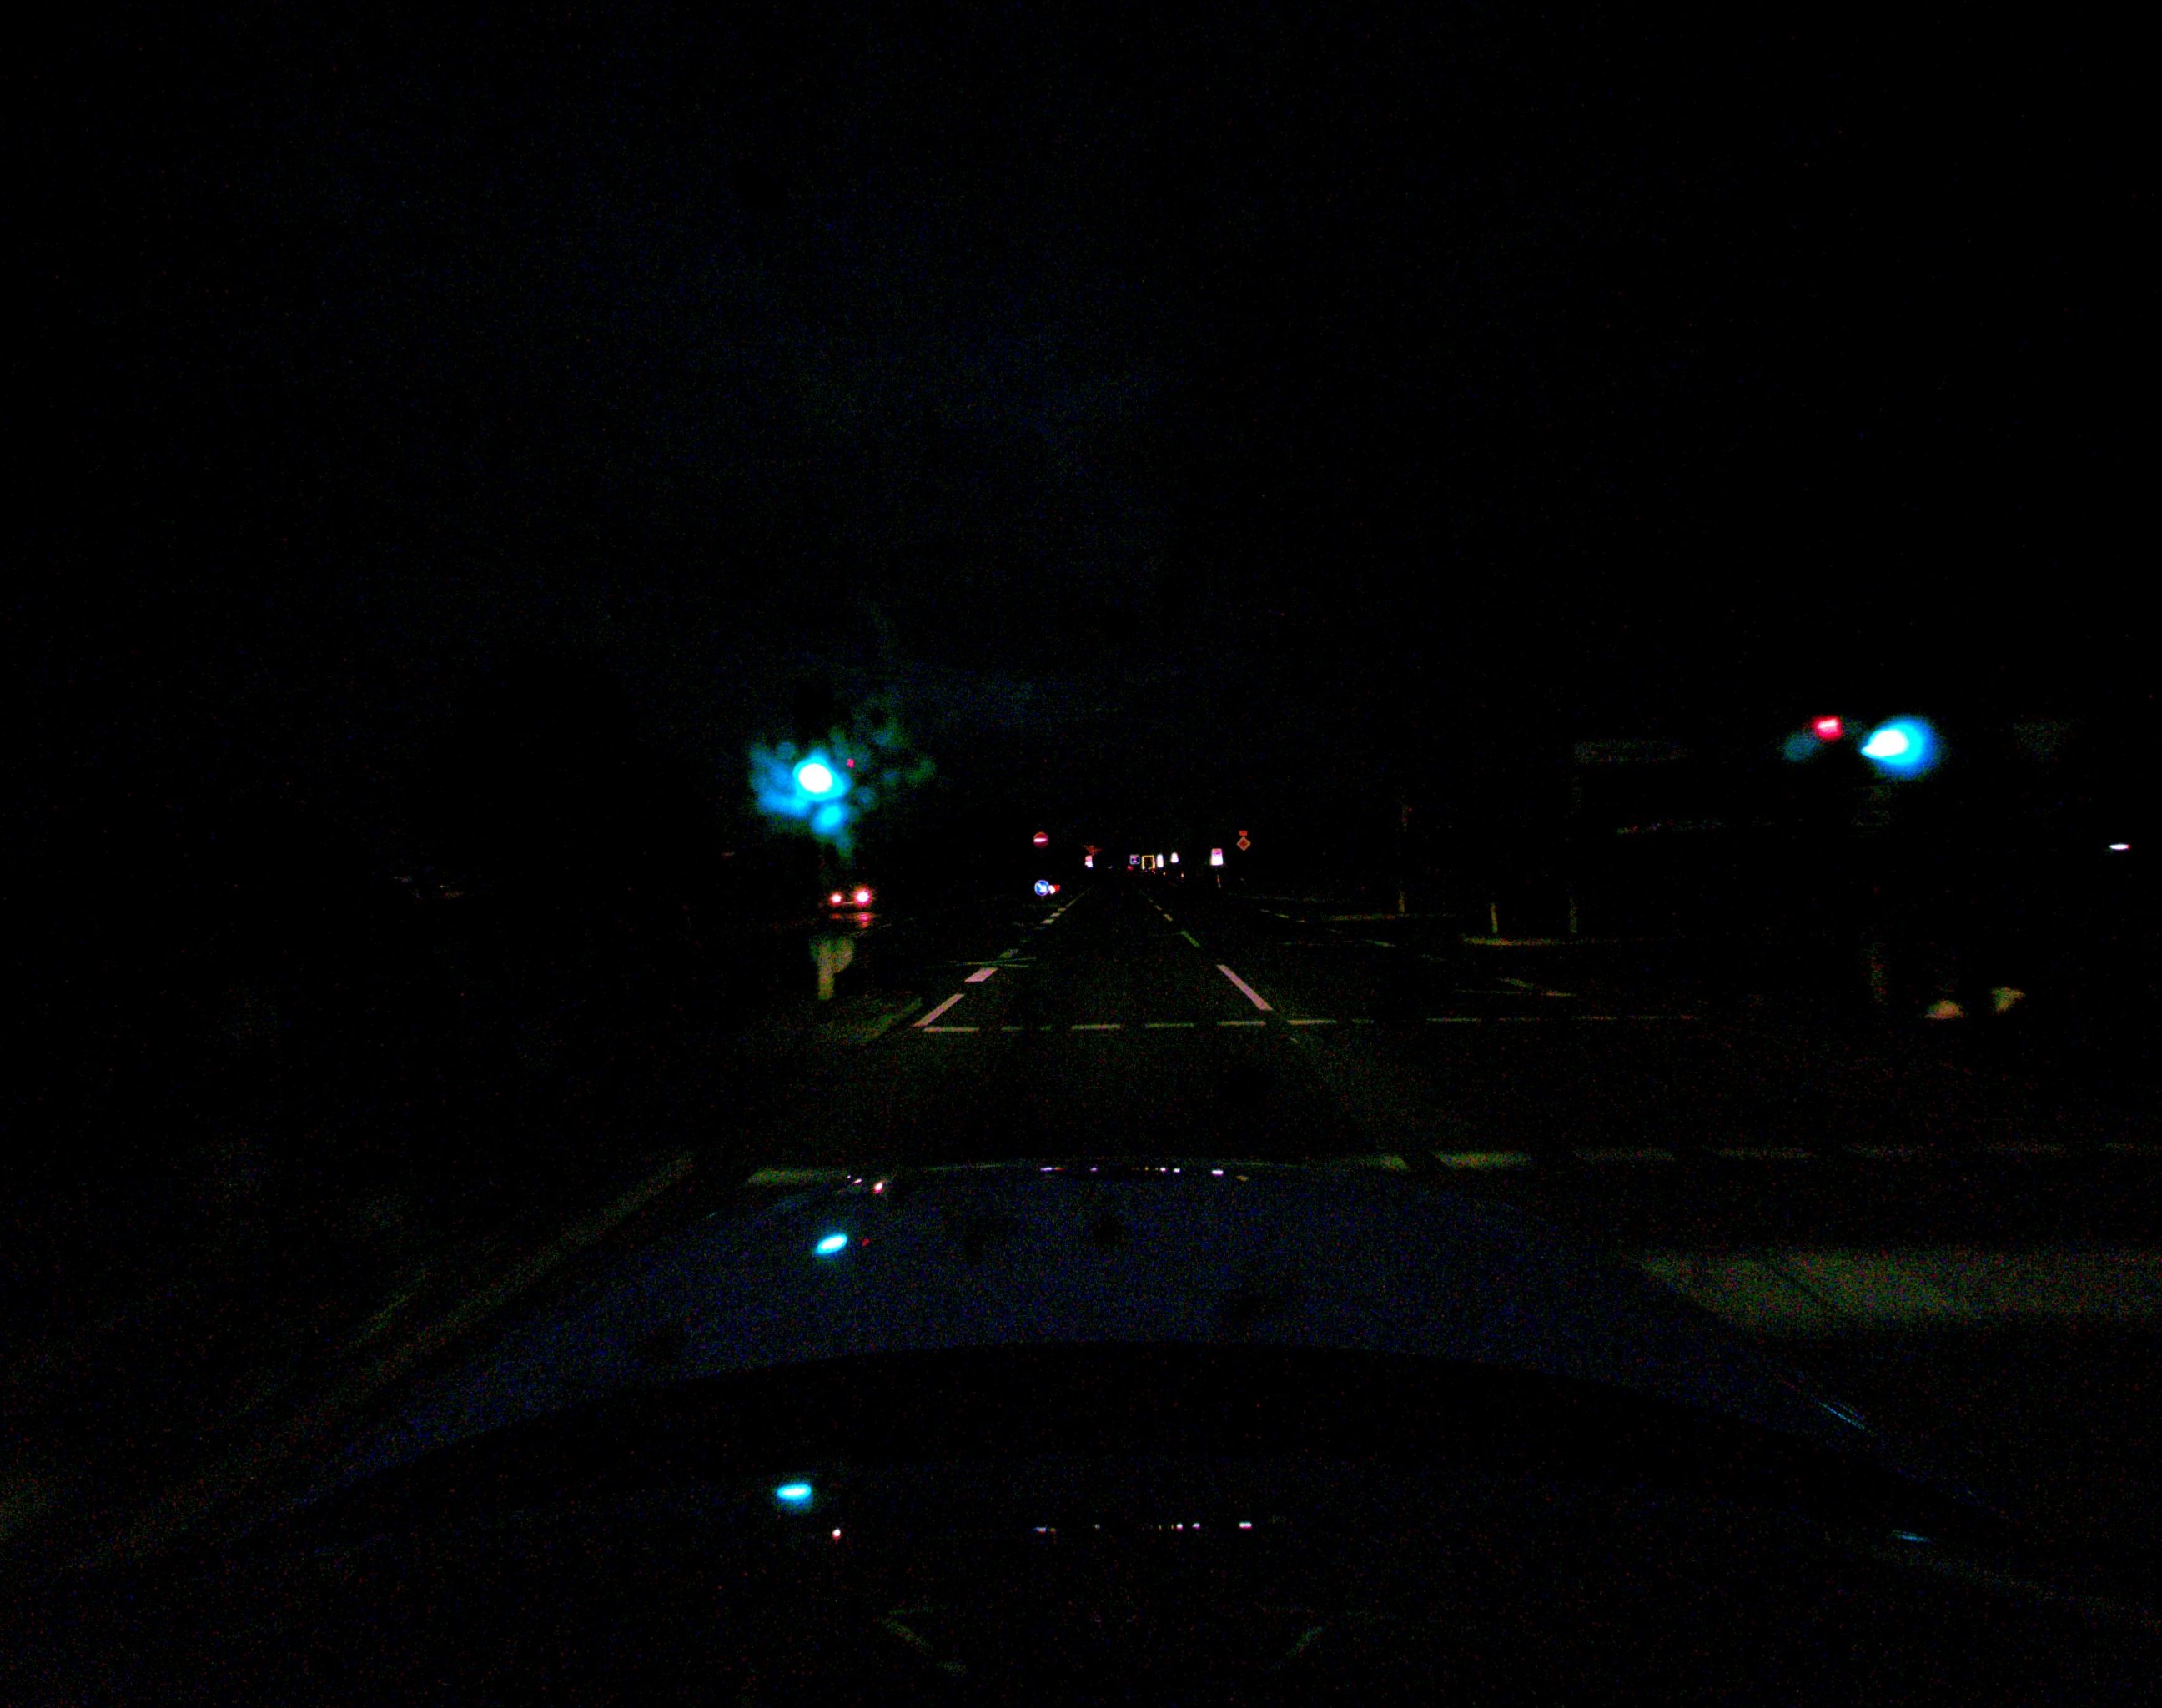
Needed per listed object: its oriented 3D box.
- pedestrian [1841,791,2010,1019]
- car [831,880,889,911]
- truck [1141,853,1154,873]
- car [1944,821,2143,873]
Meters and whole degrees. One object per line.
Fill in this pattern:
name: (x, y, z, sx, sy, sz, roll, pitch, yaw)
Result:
pedestrian: (7.830, 0.457, 7.588, 0.775, 2.014, 0.714, 0, -2, 3)
car: (-10.883, 2.023, 40.381, 1.646, 1.384, 4.031, -1, -1, 2)
truck: (14.125, 1.956, 172.673, 2.568, 4.071, 6.134, -1, -1, 3)
car: (35.773, -0.214, 30.419, 2.006, 1.664, 4.435, -2, -1, -29)
